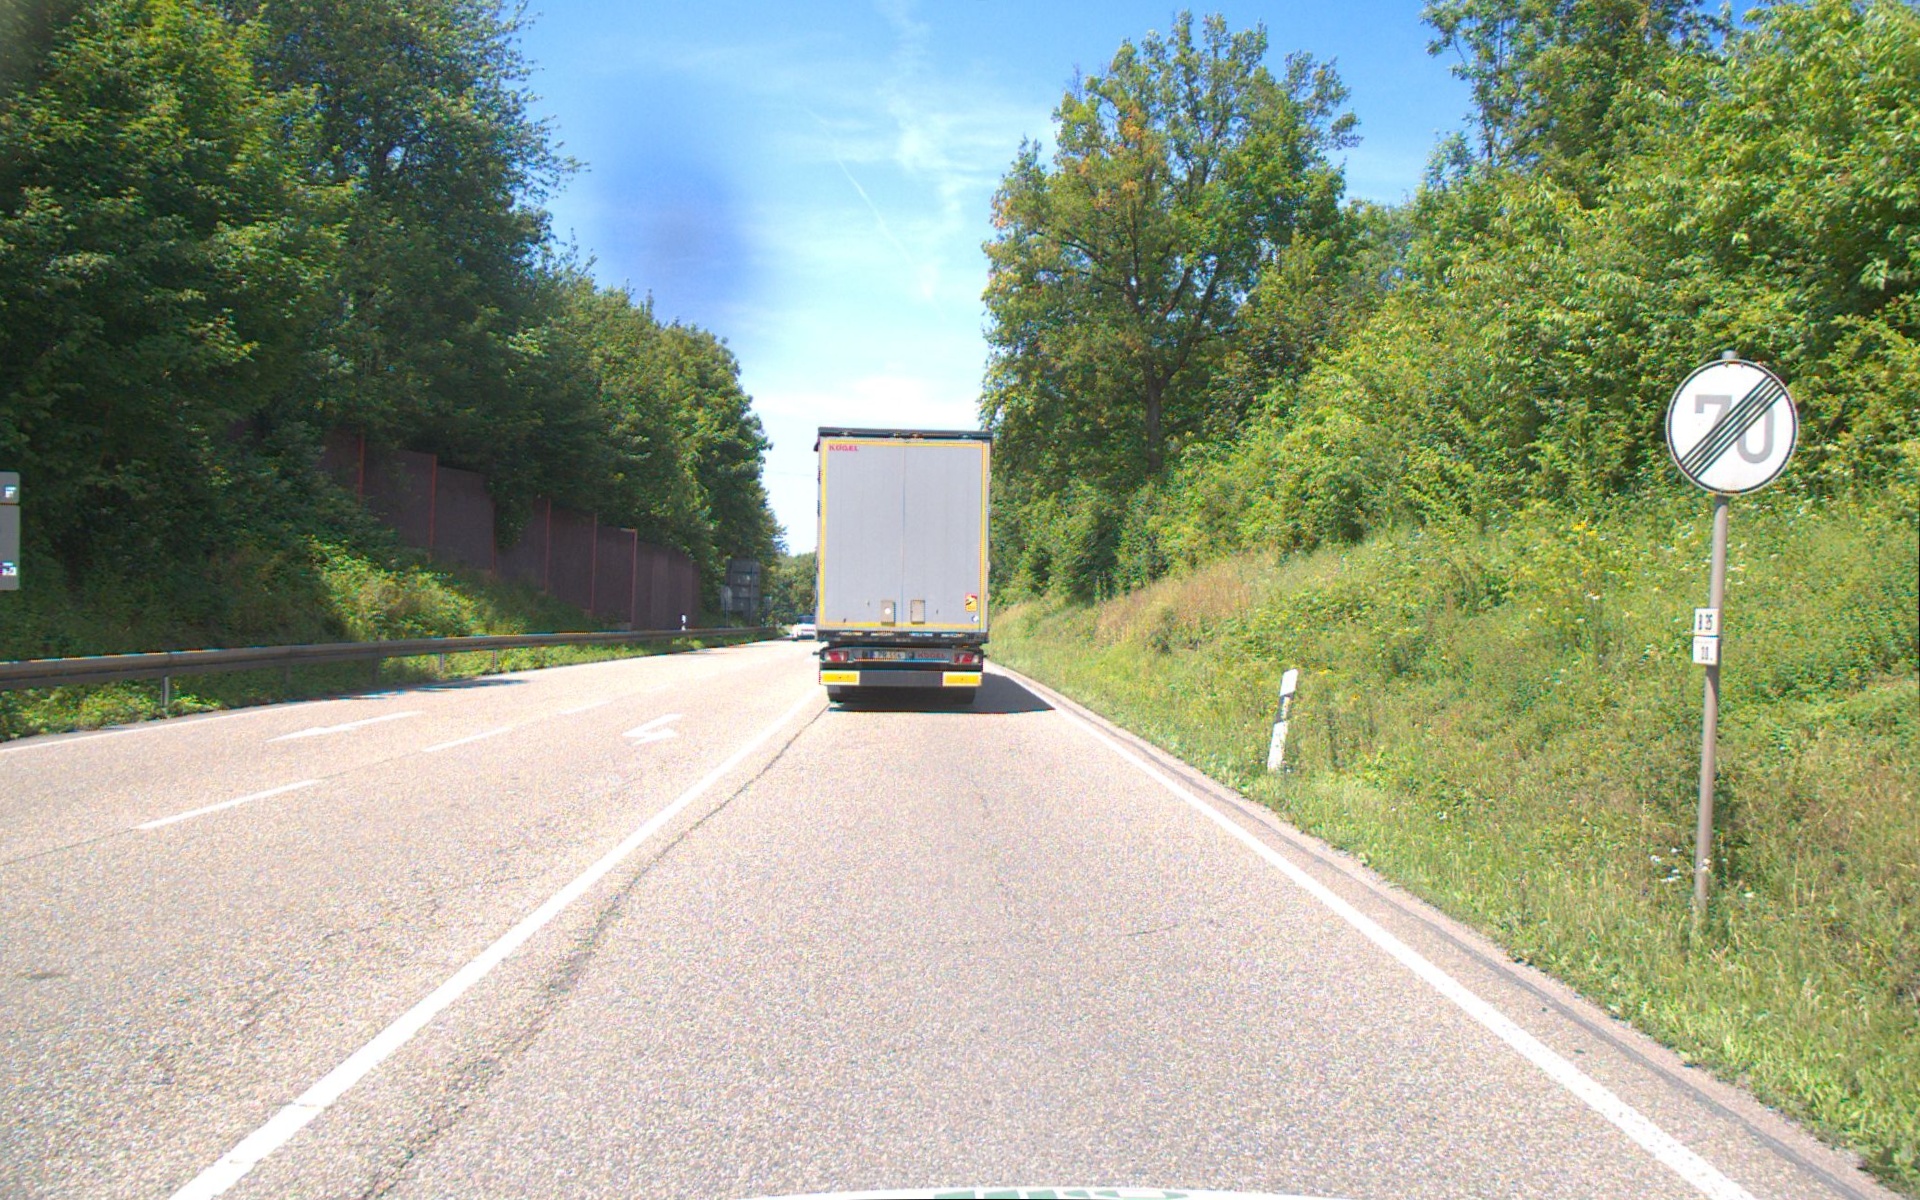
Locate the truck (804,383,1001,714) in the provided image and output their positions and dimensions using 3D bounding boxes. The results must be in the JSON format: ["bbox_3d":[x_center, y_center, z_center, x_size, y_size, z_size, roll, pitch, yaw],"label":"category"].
[{"bbox_3d":[-0.884,-0.755,26.902,2.765,4.684,6.664,0,0,-1],"label":"truck"}]

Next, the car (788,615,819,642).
[{"bbox_3d":[-8.945,1.620,94.315,1.771,1.460,3.866,0,0,-6],"label":"car"}]
